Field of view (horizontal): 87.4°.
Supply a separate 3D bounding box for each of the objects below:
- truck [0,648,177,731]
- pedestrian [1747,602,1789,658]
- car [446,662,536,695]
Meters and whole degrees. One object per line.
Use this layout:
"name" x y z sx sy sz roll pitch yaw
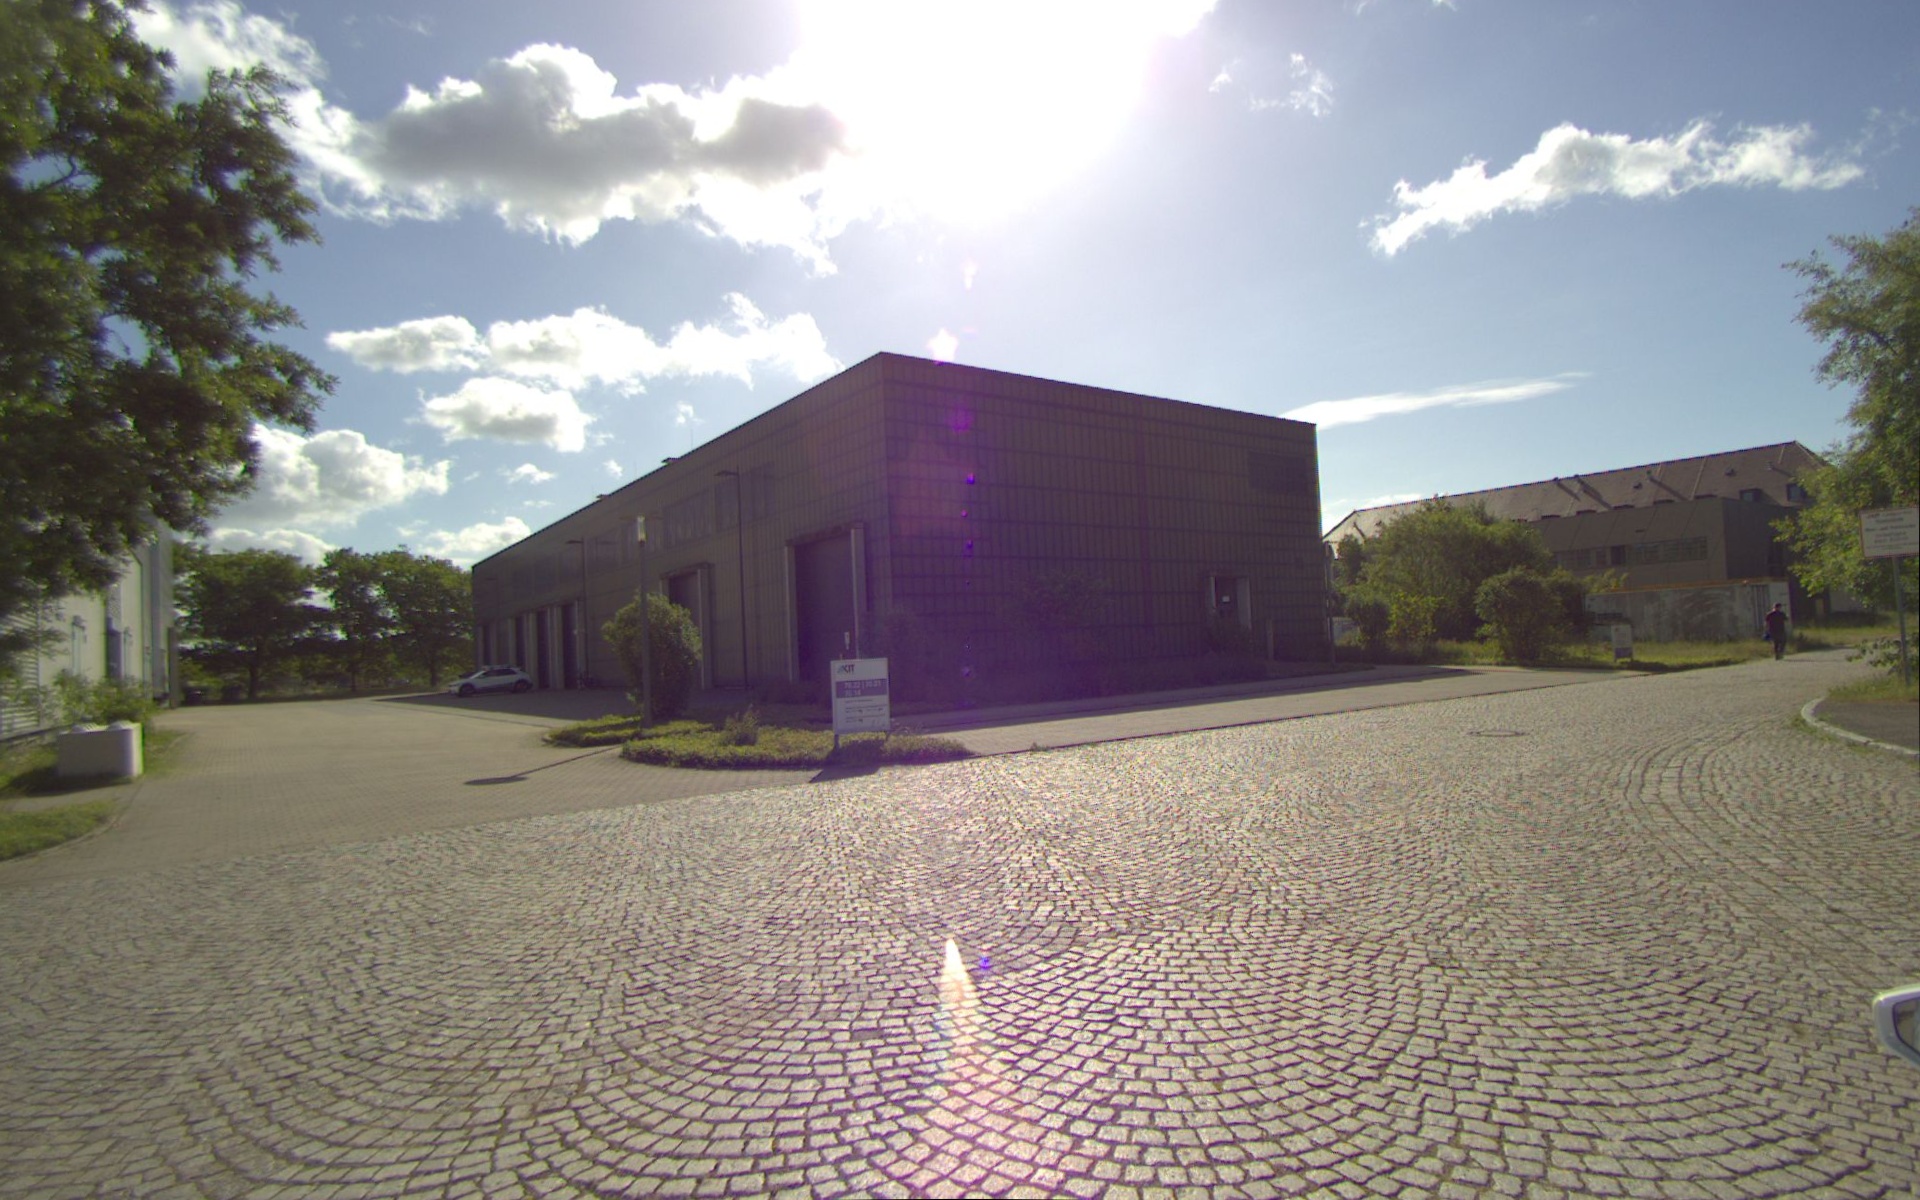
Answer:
"truck" -46.653 4.670 53.156 8.024 3.867 2.625 -1 -3 -36
"pedestrian" 26.308 0.978 32.697 1.059 1.804 0.789 -1 -2 -38
"car" -27.889 4.659 59.756 4.537 1.684 1.980 -1 -3 -37
